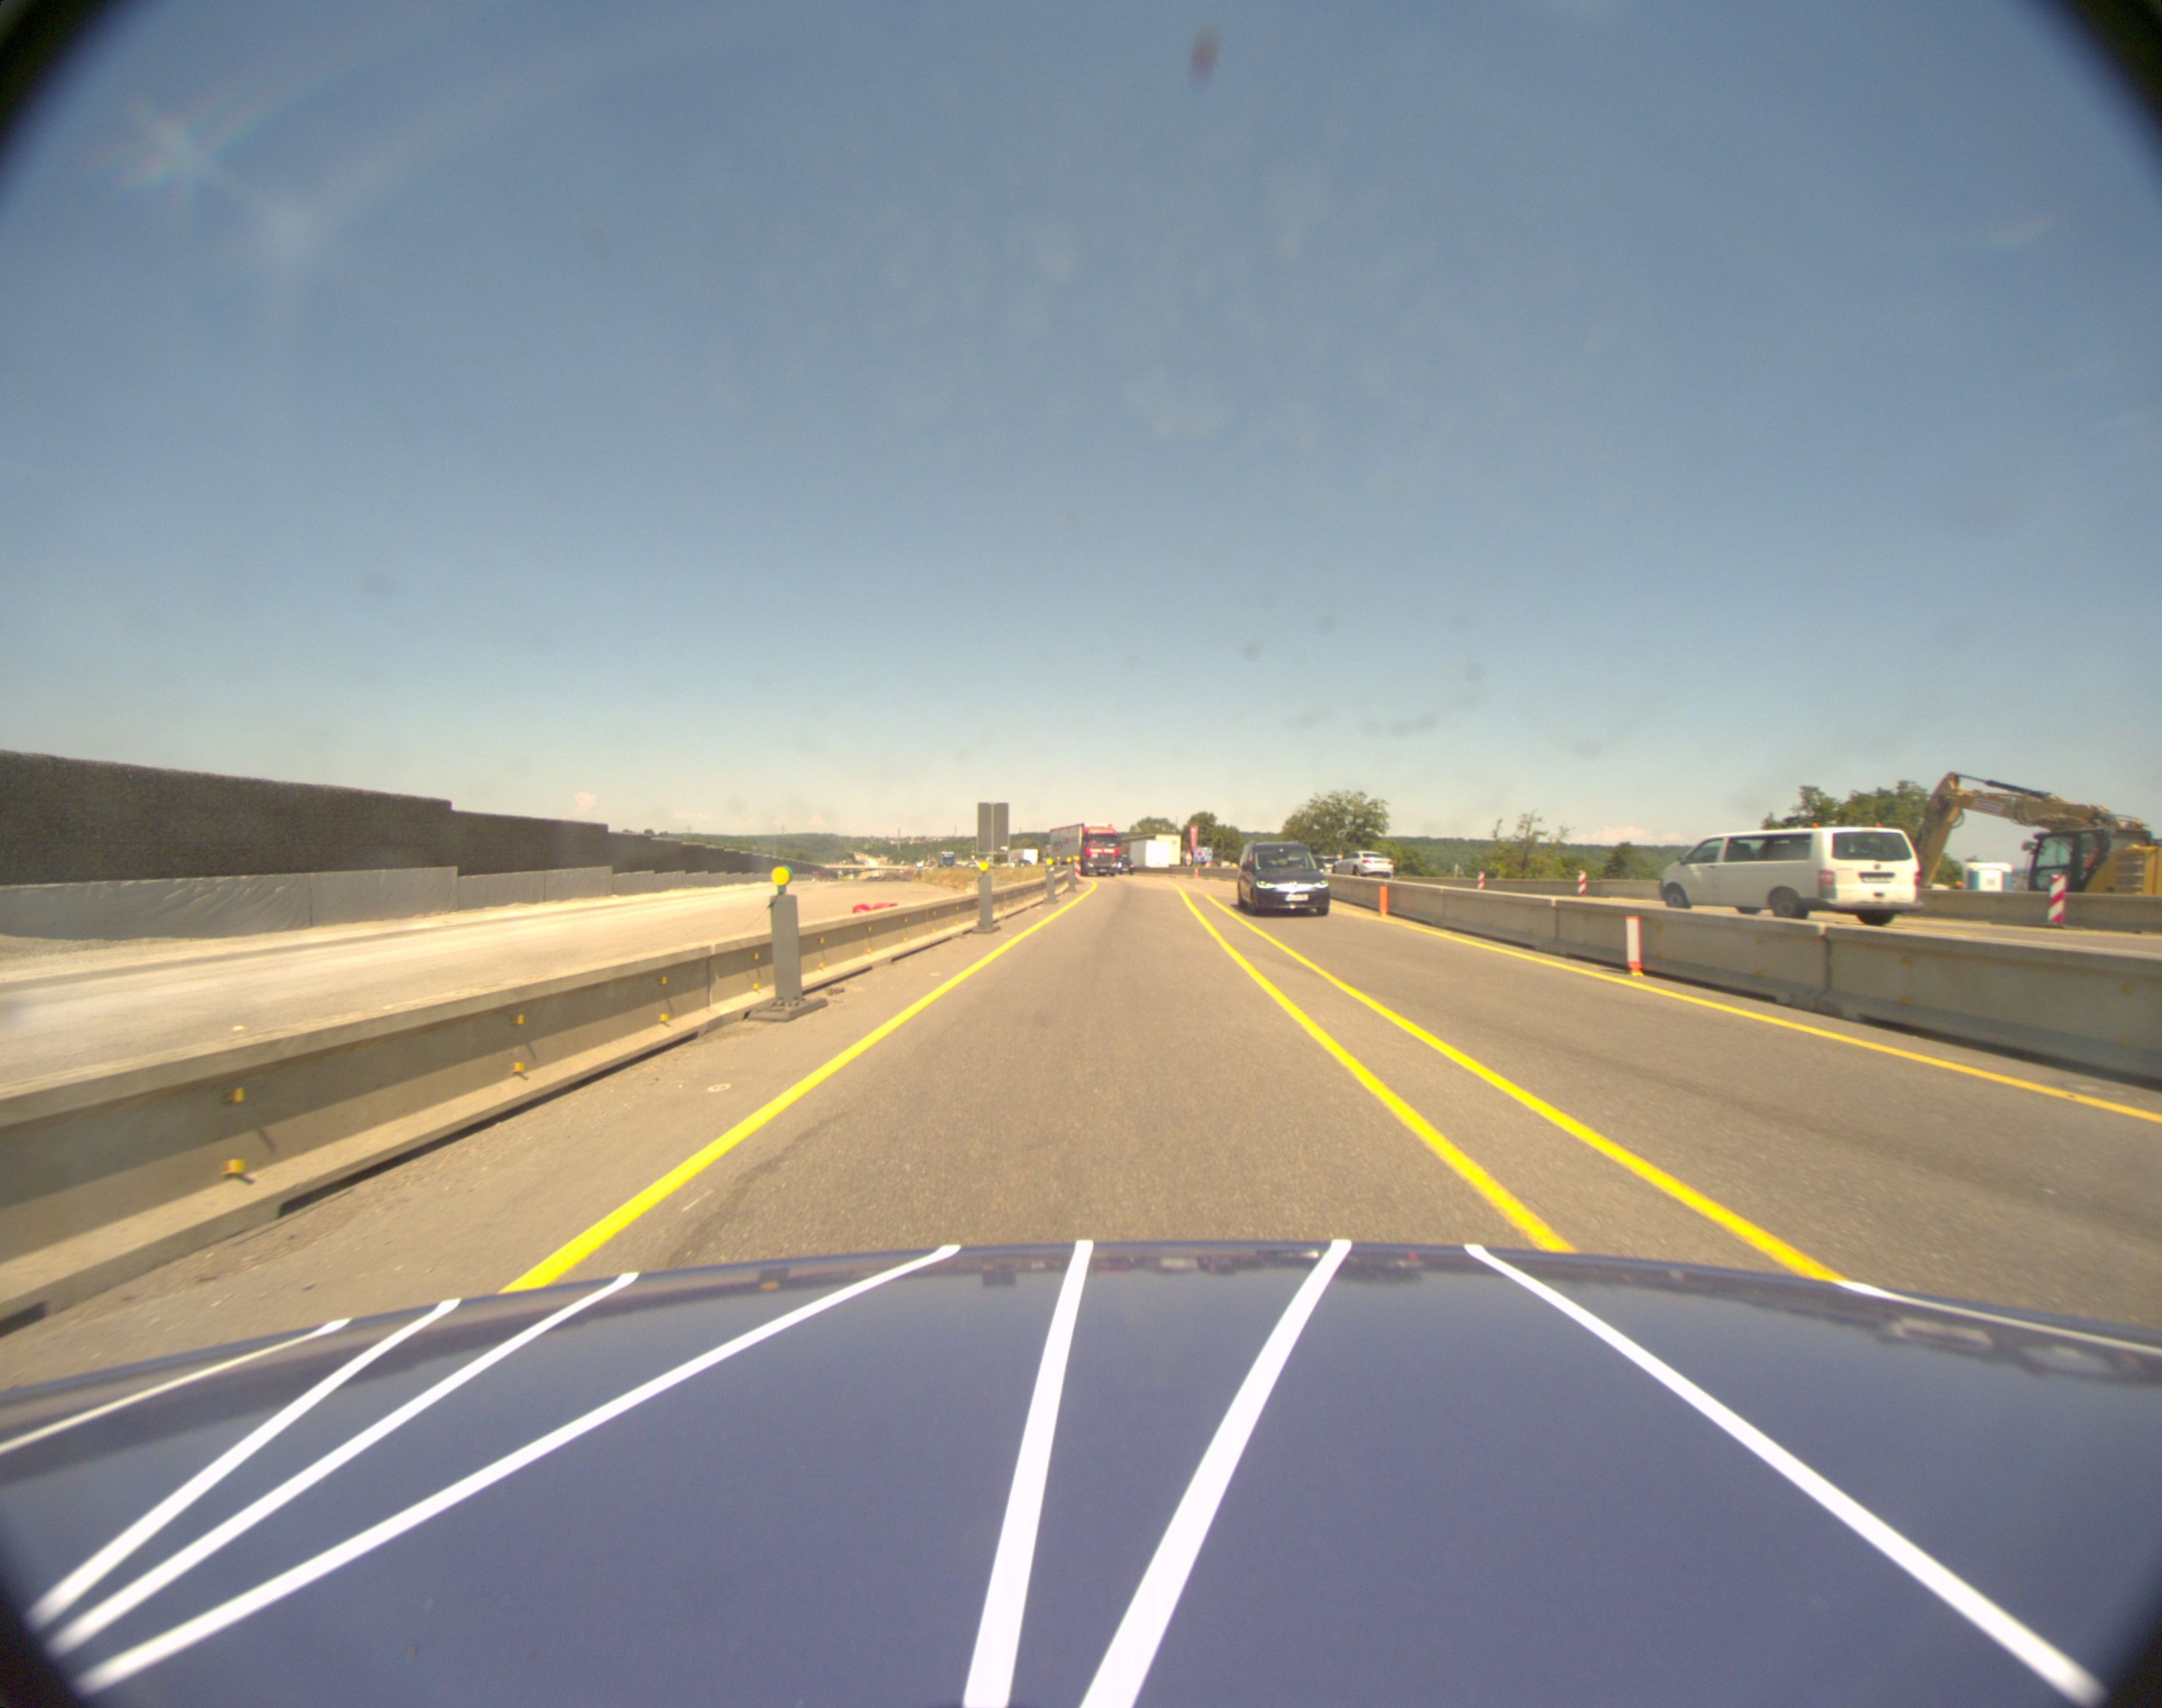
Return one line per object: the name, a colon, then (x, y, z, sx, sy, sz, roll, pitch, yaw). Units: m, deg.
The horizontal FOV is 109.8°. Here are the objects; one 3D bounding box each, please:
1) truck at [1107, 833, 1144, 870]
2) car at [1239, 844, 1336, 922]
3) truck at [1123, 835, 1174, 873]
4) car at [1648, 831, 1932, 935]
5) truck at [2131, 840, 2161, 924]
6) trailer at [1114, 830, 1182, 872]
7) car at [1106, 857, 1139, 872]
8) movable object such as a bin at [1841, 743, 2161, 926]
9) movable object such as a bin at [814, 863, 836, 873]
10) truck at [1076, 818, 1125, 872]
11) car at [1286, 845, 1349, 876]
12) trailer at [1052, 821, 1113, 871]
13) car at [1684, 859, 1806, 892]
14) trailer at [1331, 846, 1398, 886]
truck: (5.041, -0.256, 86.825, 2.554, 4.057, 5.537, 1, 0, -16)
car: (5.226, 0.665, 19.825, 1.924, 1.779, 4.606, 0, 0, 9)
truck: (6.198, -0.014, 70.690, 2.589, 3.361, 6.919, 1, 0, -14)
car: (15.199, 0.549, 16.791, 1.870, 1.942, 4.893, 1, 0, 3)
truck: (40.539, 1.013, 26.354, 2.350, 3.025, 4.259, 1, 0, -15)
trailer: (6.842, -0.269, 80.461, 2.597, 4.127, 13.046, 1, 0, -16)
car: (3.567, 0.899, 65.825, 1.716, 1.253, 3.995, 1, 0, -14)
movable object such as a bin: (27.563, -0.420, 21.959, 2.929, 4.304, 9.333, 1, 0, 9)
movable object such as a bin: (-56.912, 3.163, 169.064, 4.142, 2.135, 1.757, 1, 0, -42)
truck: (1.422, -0.636, 58.069, 2.630, 3.880, 4.928, 1, 0, -13)
car: (14.481, 0.367, 46.895, 1.871, 1.796, 4.903, 1, 0, -7)
trailer: (-0.091, -0.621, 64.817, 2.704, 3.852, 12.409, 1, 0, -11)
car: (36.198, 1.124, 41.608, 1.727, 1.703, 4.878, 1, 0, -15)
trailer: (15.191, 0.617, 40.978, 1.871, 2.010, 4.435, 1, 0, -2)
